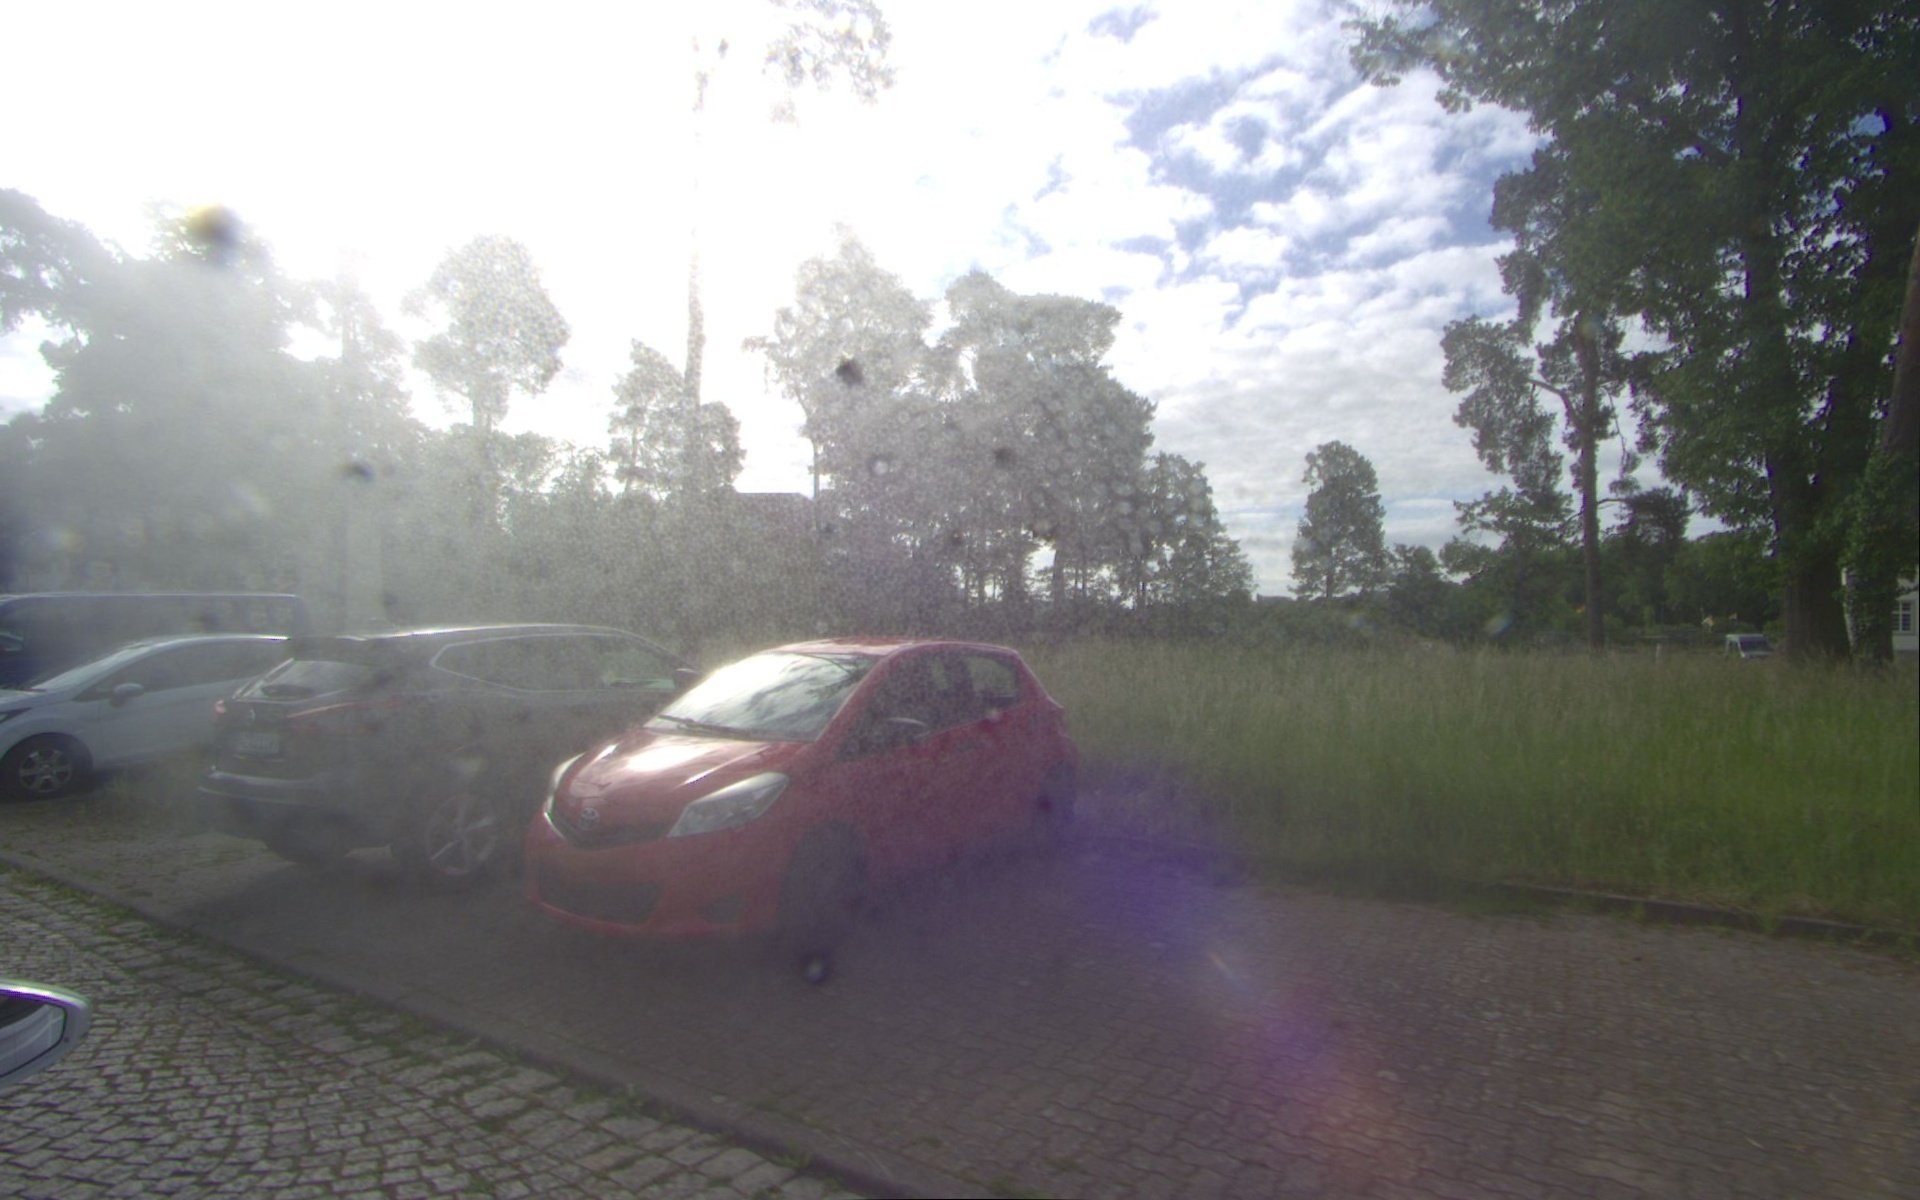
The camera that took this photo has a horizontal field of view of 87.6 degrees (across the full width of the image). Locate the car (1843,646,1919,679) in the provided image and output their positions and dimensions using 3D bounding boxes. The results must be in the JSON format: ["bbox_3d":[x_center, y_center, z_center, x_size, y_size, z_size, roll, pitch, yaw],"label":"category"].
[{"bbox_3d":[60.155,4.030,65.114,2.446,2.038,5.823,0,-3,24],"label":"car"}]

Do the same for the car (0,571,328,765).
[{"bbox_3d":[-10.508,0.756,11.942,1.712,2.066,4.778,0,-2,30],"label":"car"}]

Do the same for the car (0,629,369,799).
[{"bbox_3d":[-8.522,1.057,10.492,1.629,1.442,3.718,0,0,29],"label":"car"}]

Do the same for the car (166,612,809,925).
[{"bbox_3d":[-3.038,0.945,7.303,1.736,1.600,3.946,0,-2,30],"label":"car"}]

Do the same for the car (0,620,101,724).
[{"bbox_3d":[-15.055,1.054,14.745,1.639,1.524,3.289,0,-2,30],"label":"car"}]

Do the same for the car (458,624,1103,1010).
[{"bbox_3d":[-0.708,0.950,6.195,1.713,1.538,3.981,0,-2,32],"label":"car"}]

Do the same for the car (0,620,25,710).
[{"bbox_3d":[-17.667,1.064,16.010,1.635,1.526,3.602,0,-2,21],"label":"car"}]
